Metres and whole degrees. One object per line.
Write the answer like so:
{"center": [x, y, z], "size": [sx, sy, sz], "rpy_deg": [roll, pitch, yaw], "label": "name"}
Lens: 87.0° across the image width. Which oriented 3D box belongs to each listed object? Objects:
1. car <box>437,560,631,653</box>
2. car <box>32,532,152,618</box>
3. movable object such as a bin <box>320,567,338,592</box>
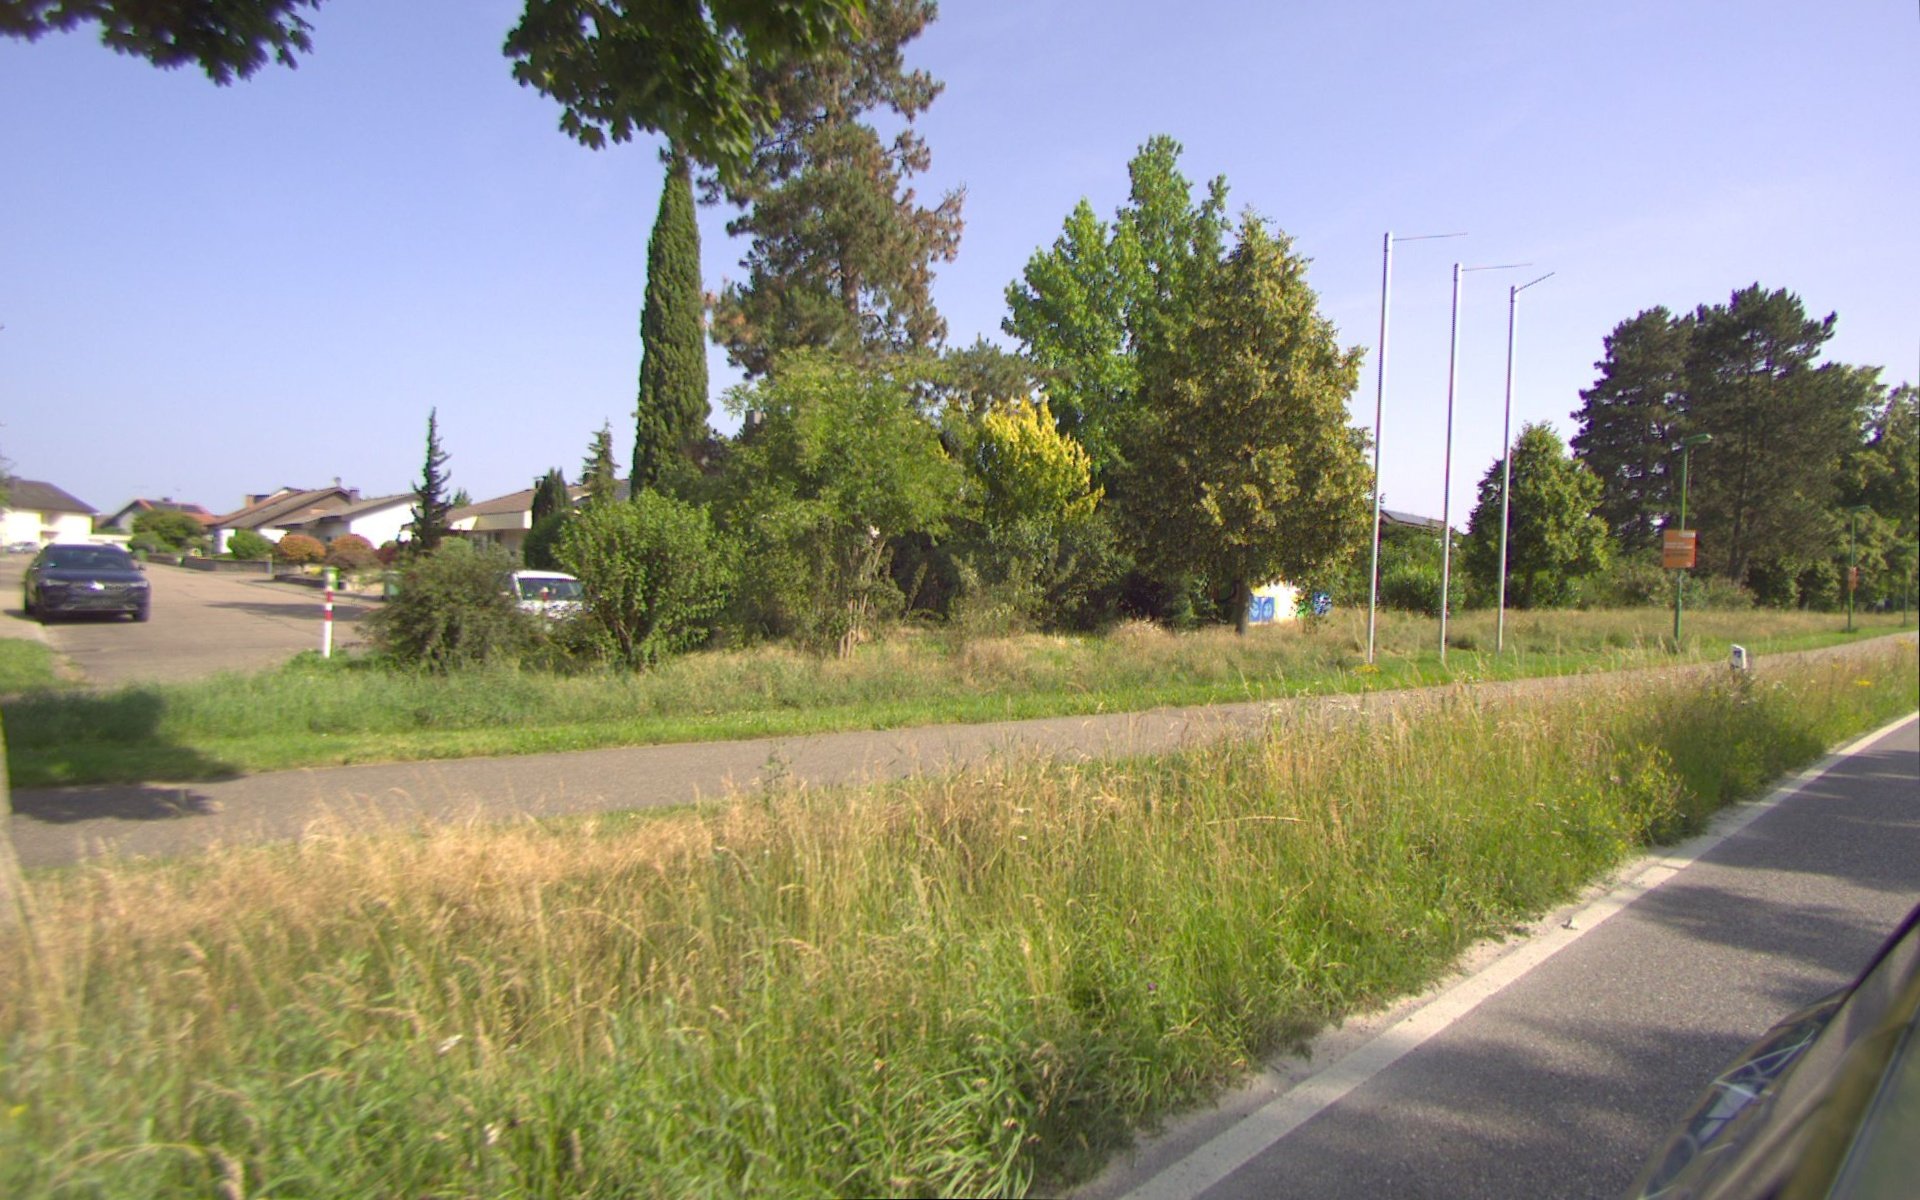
{"center": [-7.843, 0.053, 18.483], "size": [3.987, 1.452, 1.787], "rpy_deg": [3, 2, 43], "label": "car"}
{"center": [-18.792, -0.539, 21.883], "size": [1.809, 1.683, 3.933], "rpy_deg": [1, 1, -42], "label": "car"}
{"center": [-25.622, -0.832, 41.099], "size": [0.531, 1.000, 0.383], "rpy_deg": [1, 1, -42], "label": "movable object such as a bin"}
